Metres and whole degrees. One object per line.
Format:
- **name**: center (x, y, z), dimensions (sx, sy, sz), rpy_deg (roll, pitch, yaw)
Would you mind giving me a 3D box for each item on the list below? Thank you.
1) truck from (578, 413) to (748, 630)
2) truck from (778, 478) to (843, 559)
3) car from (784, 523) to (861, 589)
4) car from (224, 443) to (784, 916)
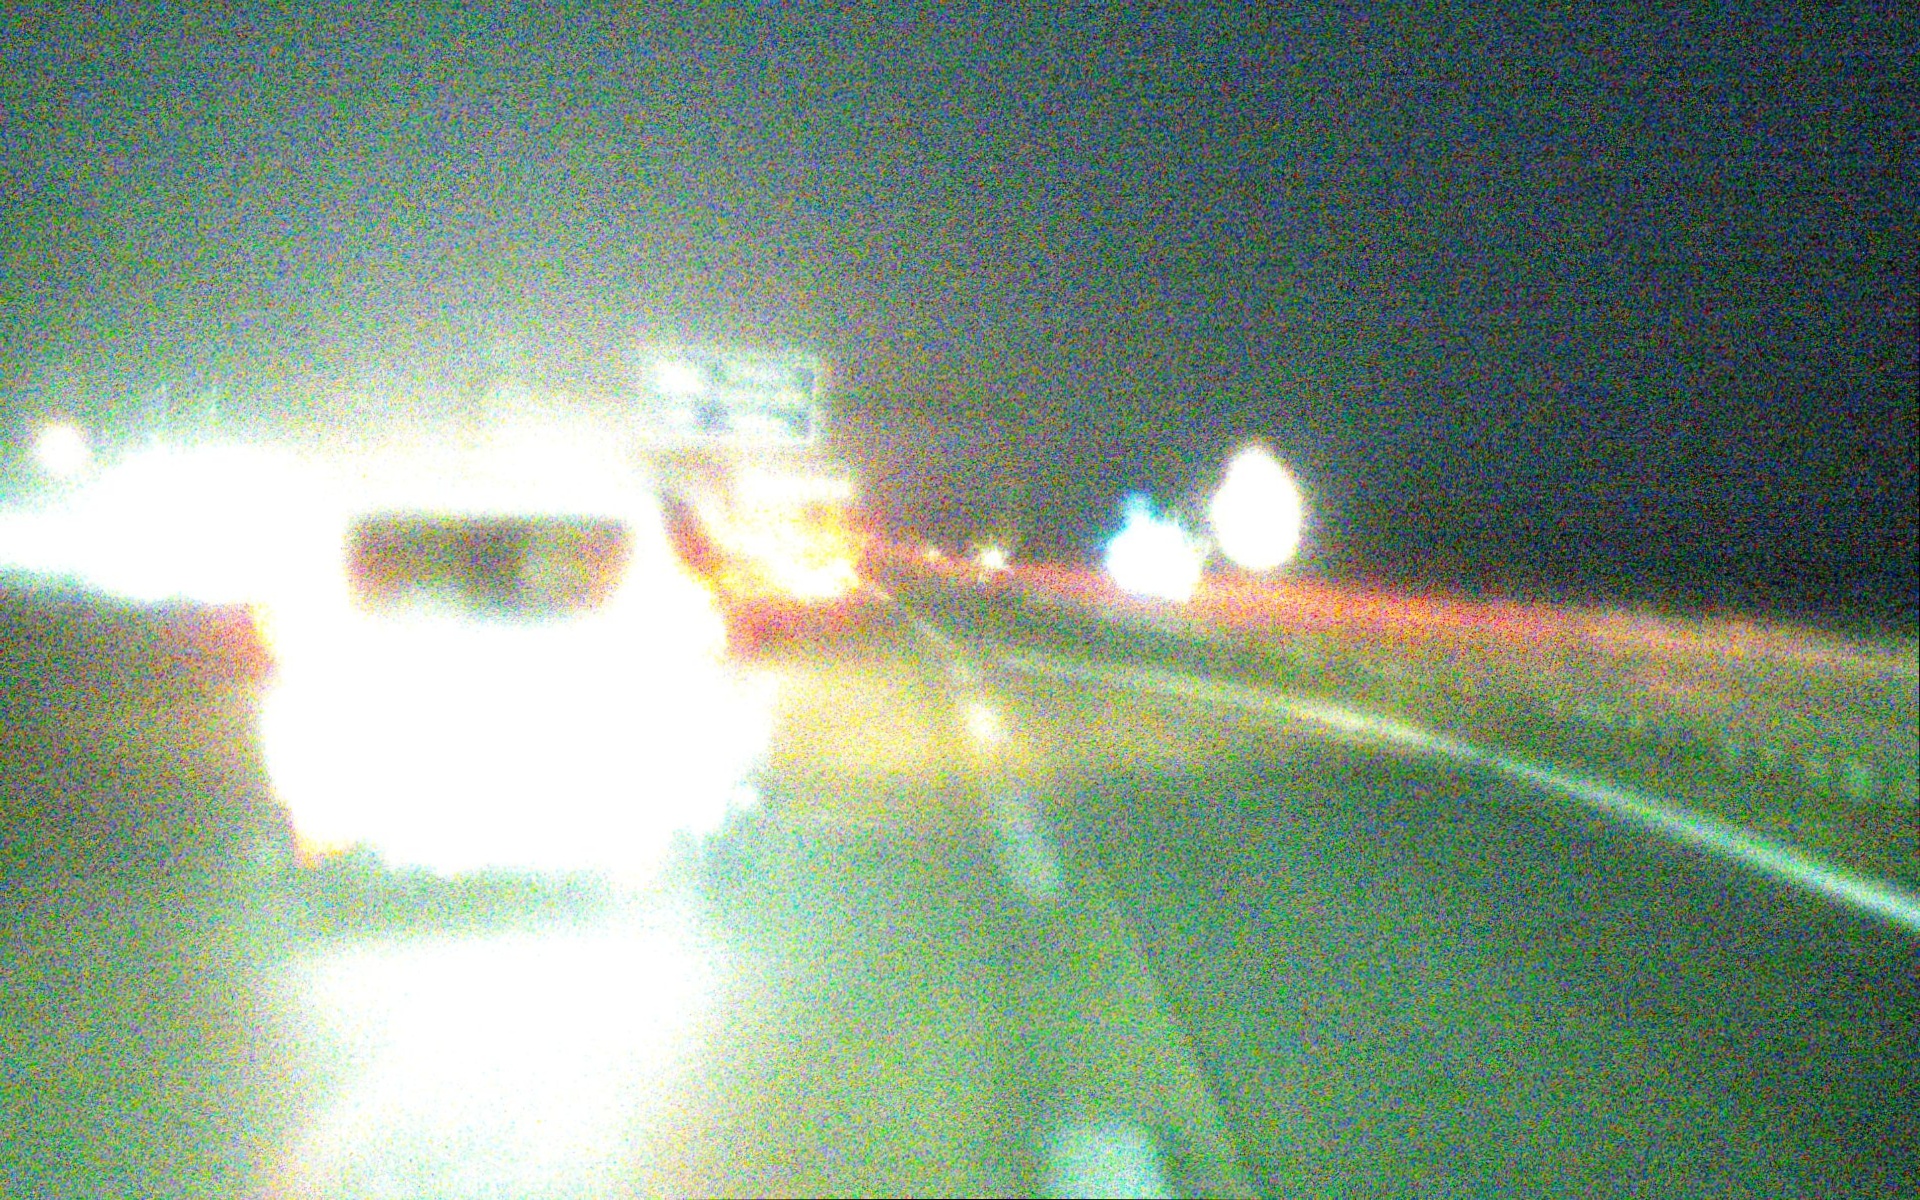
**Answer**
- **truck**: center (-8.092, -2.112, 95.667), dimensions (4.167, 5.525, 13.076), rpy_deg (1, 1, -3)
- **truck**: center (-9.504, -5.092, 216.880), dimensions (3.823, 4.898, 11.608), rpy_deg (2, 1, -3)
- **car**: center (-3.763, -1.205, 93.519), dimensions (1.993, 1.701, 4.196), rpy_deg (1, 1, -3)
- **car**: center (-1.898, 0.278, 15.875), dimensions (1.953, 1.786, 5.124), rpy_deg (1, 1, -1)
